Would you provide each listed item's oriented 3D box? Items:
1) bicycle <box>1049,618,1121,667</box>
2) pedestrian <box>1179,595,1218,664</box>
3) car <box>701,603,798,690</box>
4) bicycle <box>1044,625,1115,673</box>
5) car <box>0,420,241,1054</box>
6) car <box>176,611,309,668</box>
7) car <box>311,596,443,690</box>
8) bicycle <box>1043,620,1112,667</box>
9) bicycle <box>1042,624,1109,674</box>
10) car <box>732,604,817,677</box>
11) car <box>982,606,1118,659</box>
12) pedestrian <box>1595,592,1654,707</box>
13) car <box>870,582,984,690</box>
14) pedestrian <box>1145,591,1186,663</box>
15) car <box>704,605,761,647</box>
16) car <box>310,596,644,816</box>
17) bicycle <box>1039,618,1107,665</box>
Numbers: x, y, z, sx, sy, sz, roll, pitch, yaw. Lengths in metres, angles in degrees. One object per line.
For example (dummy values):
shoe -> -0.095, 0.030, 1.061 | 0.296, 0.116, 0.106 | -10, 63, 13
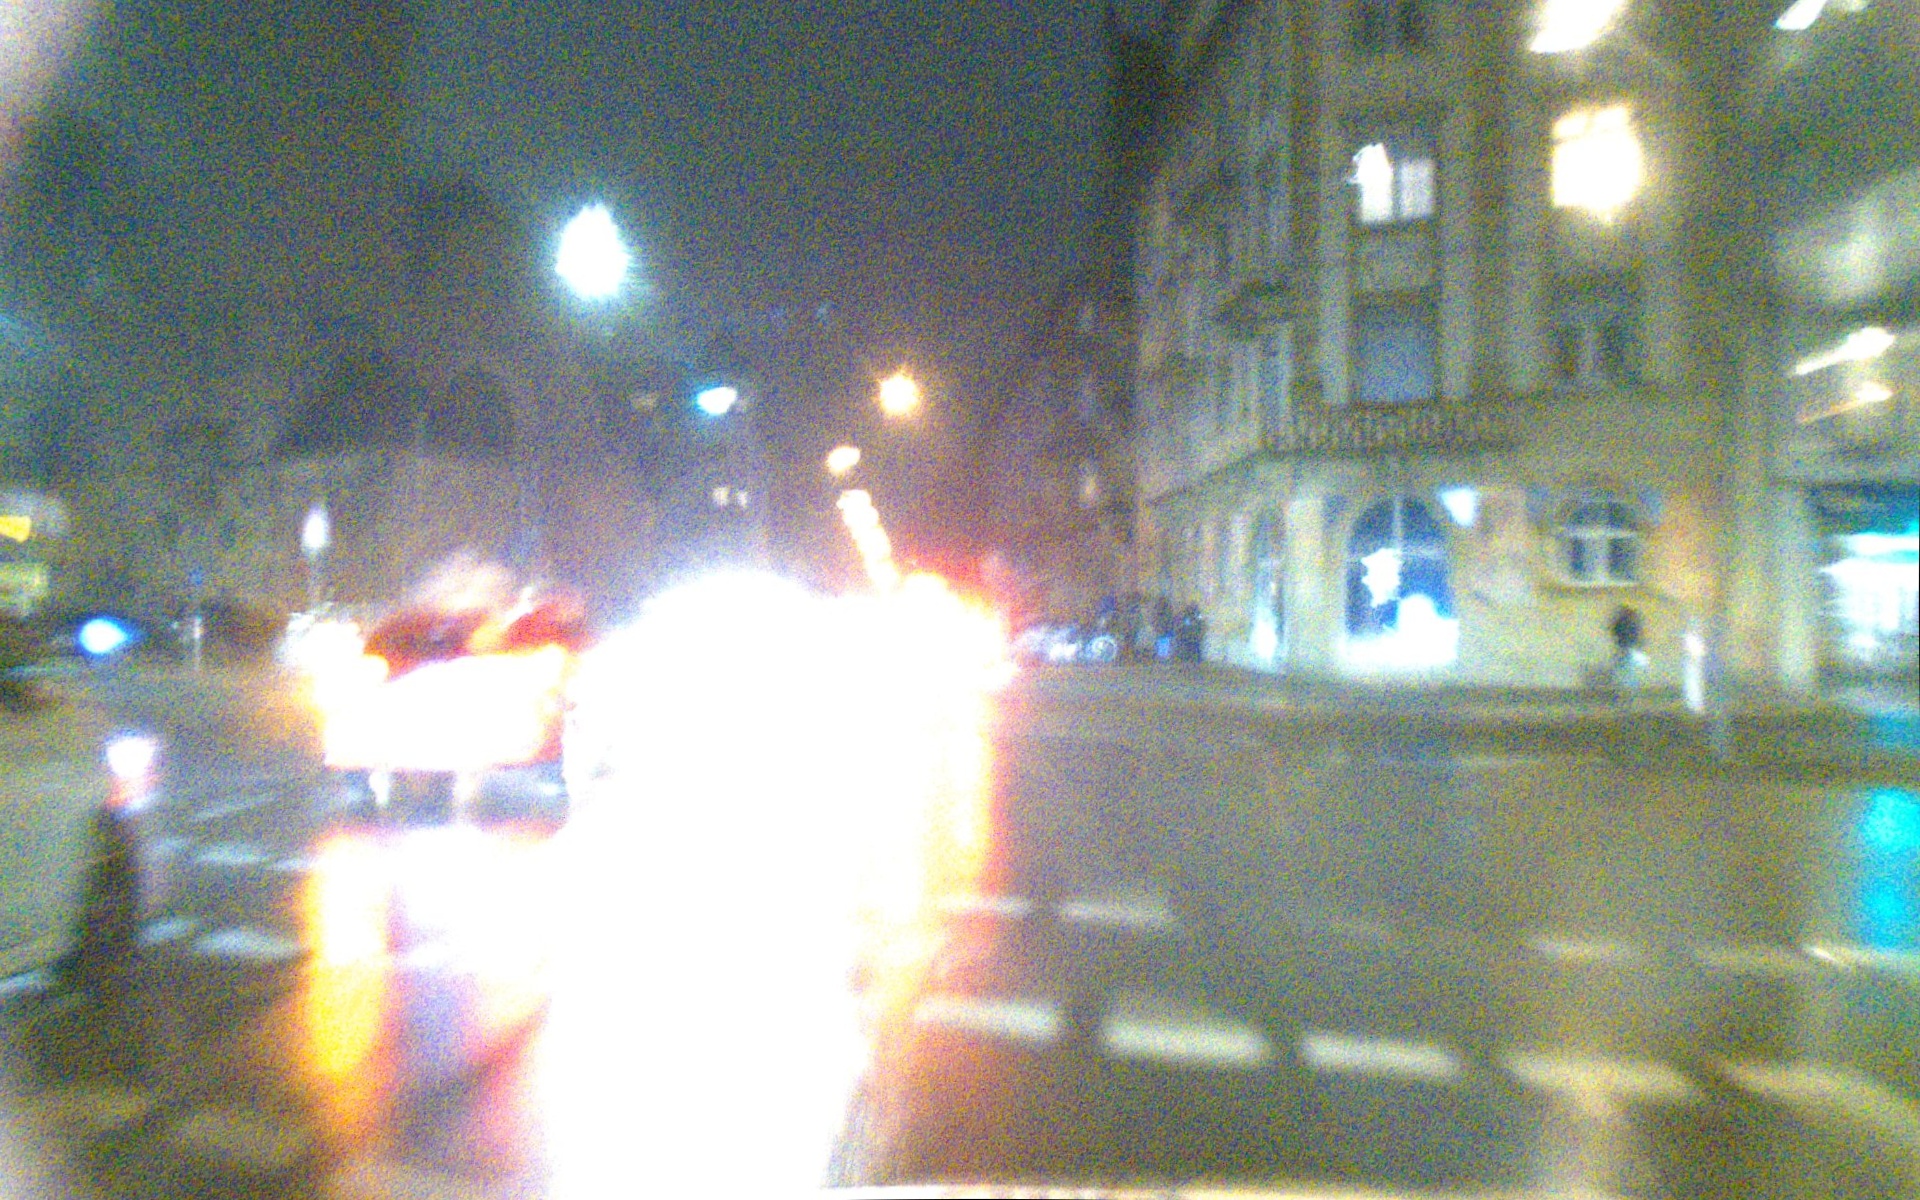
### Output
bicycle -> 3.464, 1.185, 45.967 | 1.861, 1.273, 0.709 | -2, -1, -8
pedestrian -> 5.798, 0.721, 40.272 | 0.765, 1.646, 0.999 | -1, -1, -2
car -> -4.025, 0.871, 32.078 | 1.673, 1.569, 3.985 | 0, -1, -5
bicycle -> 3.377, 1.381, 46.781 | 1.861, 1.273, 0.595 | -2, -1, -8
car -> -4.020, 0.445, 4.264 | 1.992, 1.987, 5.200 | -1, 0, 1
car -> -24.270, 1.289, 56.092 | 1.663, 1.730, 4.193 | 0, 1, 22
car -> -12.073, 0.858, 34.525 | 1.857, 1.812, 4.323 | -1, 0, -9
bicycle -> 3.372, 1.247, 47.458 | 1.861, 1.273, 0.595 | -2, -1, -8
bicycle -> 3.401, 1.450, 48.855 | 1.861, 1.384, 0.595 | -2, -1, -8
car -> -4.212, 0.910, 38.039 | 1.635, 1.589, 4.005 | 0, -1, -2
car -> 2.841, 1.001, 51.798 | 4.148, 1.483, 1.830 | -2, 0, -41
pedestrian -> 12.258, 0.901, 30.536 | 0.953, 2.048, 1.016 | -1, 2, 21
car -> -0.709, 0.694, 33.082 | 2.125, 2.006, 4.299 | -1, -1, -3
pedestrian -> 5.549, 0.730, 44.764 | 0.938, 1.915, 0.999 | -1, -1, -2
car -> -11.296, 1.283, 81.797 | 1.962, 2.006, 4.276 | 0, -1, -20
car -> -3.915, 0.787, 14.256 | 1.782, 1.569, 4.722 | 0, -1, -4
bicycle -> 3.287, 1.210, 48.085 | 1.861, 1.273, 0.595 | -2, -1, -8
